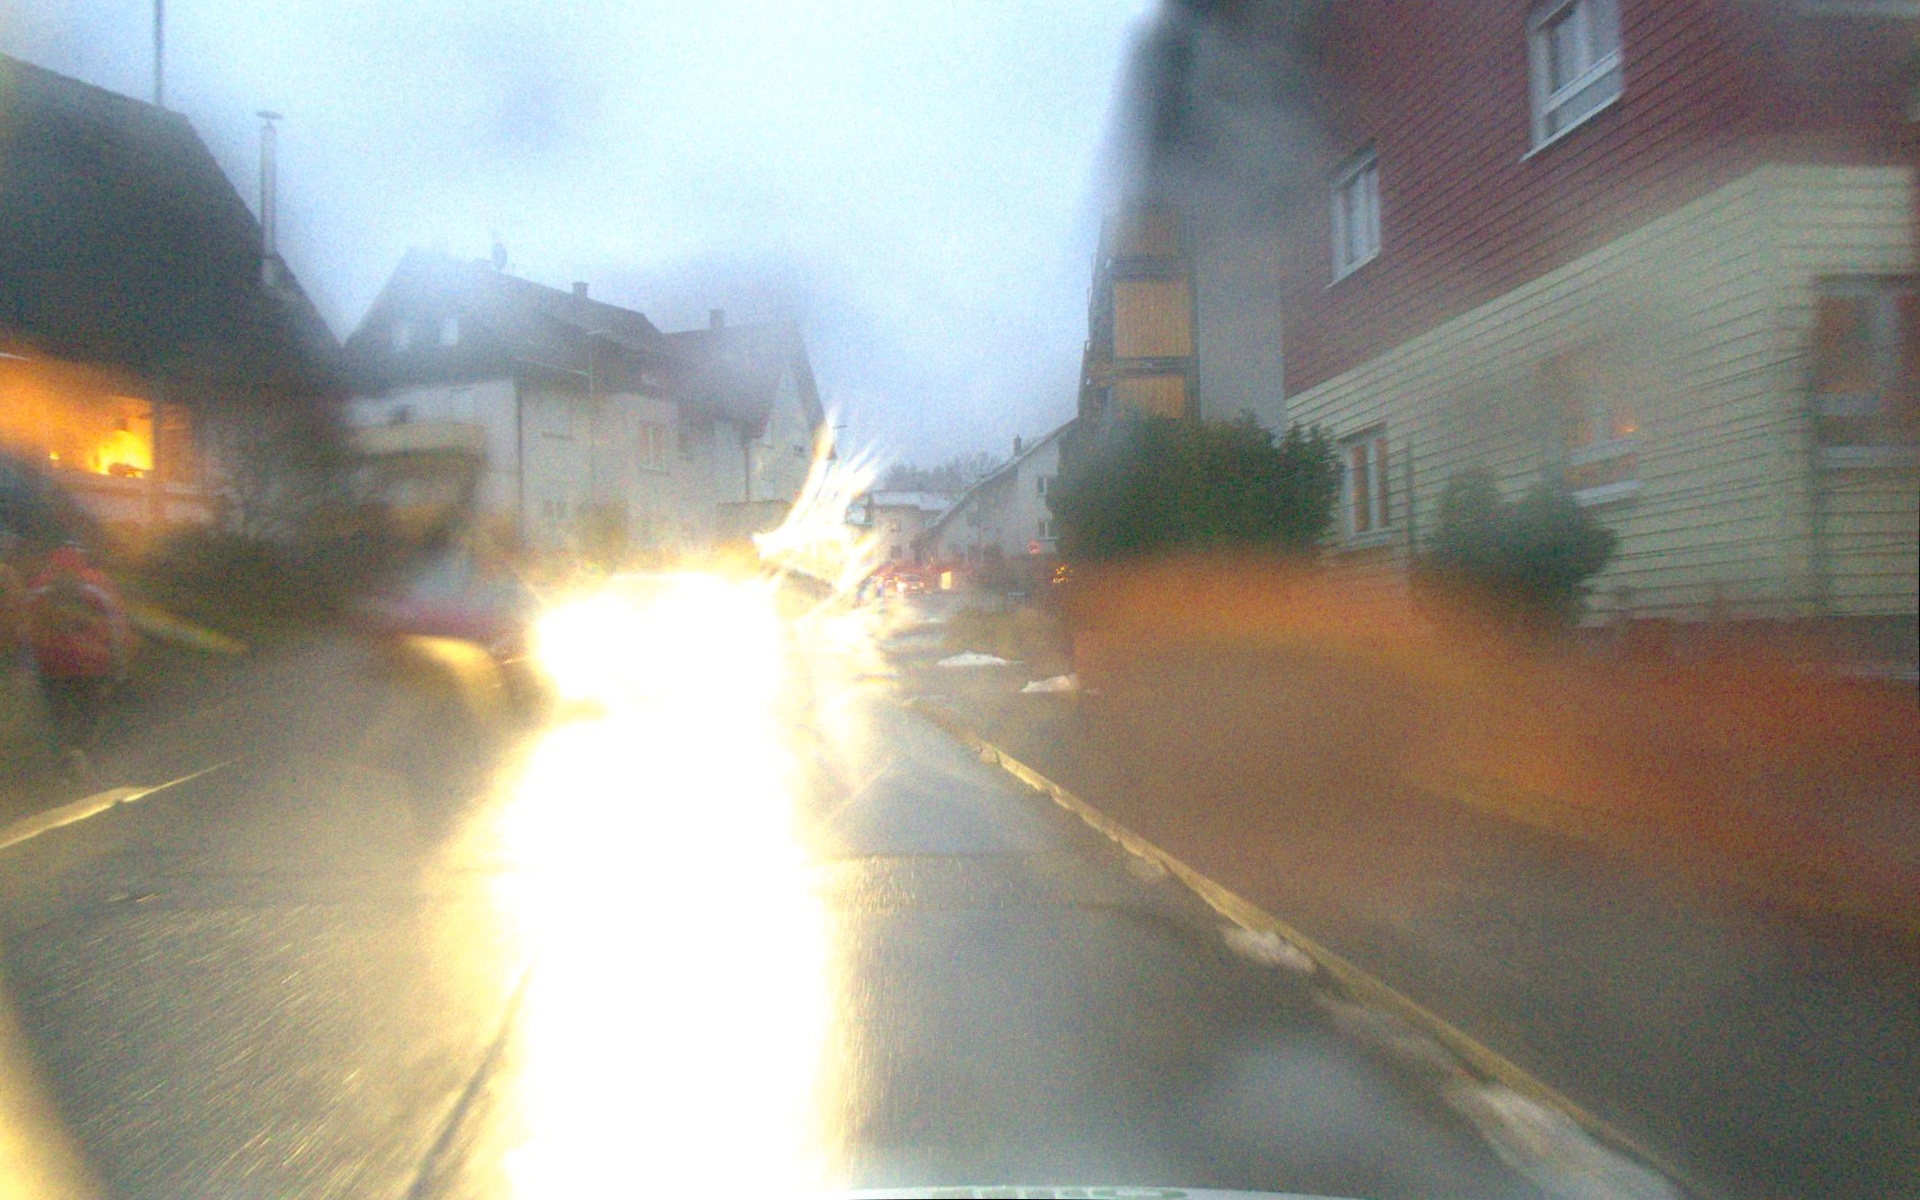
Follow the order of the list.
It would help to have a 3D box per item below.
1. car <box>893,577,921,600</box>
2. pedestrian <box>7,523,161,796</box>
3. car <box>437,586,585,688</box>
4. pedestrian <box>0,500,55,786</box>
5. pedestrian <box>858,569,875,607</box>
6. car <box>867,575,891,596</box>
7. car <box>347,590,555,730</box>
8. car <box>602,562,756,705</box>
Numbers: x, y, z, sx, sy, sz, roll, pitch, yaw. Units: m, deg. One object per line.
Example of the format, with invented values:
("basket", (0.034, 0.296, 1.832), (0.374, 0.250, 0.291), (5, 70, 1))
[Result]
("car", (-3.928, -0.852, 123.521), (1.952, 1.646, 4.000), (1, -1, 0))
("pedestrian", (-6.029, 0.395, 11.422), (0.693, 1.810, 0.810), (0, -1, -8))
("car", (-6.817, 0.509, 25.482), (1.716, 1.413, 4.138), (0, 1, -9))
("pedestrian", (-6.685, 0.286, 11.350), (0.587, 1.902, 0.810), (0, -1, -9))
("pedestrian", (-4.331, -0.555, 76.354), (0.585, 1.763, 0.813), (0, -1, 11))
("car", (-6.839, -1.229, 139.448), (1.954, 1.646, 3.996), (1, -1, -5))
("car", (-5.962, 0.630, 19.813), (1.789, 1.466, 4.060), (0, 1, -9))
("car", (-3.577, 0.391, 20.843), (1.726, 1.608, 3.989), (0, 0, -11))
